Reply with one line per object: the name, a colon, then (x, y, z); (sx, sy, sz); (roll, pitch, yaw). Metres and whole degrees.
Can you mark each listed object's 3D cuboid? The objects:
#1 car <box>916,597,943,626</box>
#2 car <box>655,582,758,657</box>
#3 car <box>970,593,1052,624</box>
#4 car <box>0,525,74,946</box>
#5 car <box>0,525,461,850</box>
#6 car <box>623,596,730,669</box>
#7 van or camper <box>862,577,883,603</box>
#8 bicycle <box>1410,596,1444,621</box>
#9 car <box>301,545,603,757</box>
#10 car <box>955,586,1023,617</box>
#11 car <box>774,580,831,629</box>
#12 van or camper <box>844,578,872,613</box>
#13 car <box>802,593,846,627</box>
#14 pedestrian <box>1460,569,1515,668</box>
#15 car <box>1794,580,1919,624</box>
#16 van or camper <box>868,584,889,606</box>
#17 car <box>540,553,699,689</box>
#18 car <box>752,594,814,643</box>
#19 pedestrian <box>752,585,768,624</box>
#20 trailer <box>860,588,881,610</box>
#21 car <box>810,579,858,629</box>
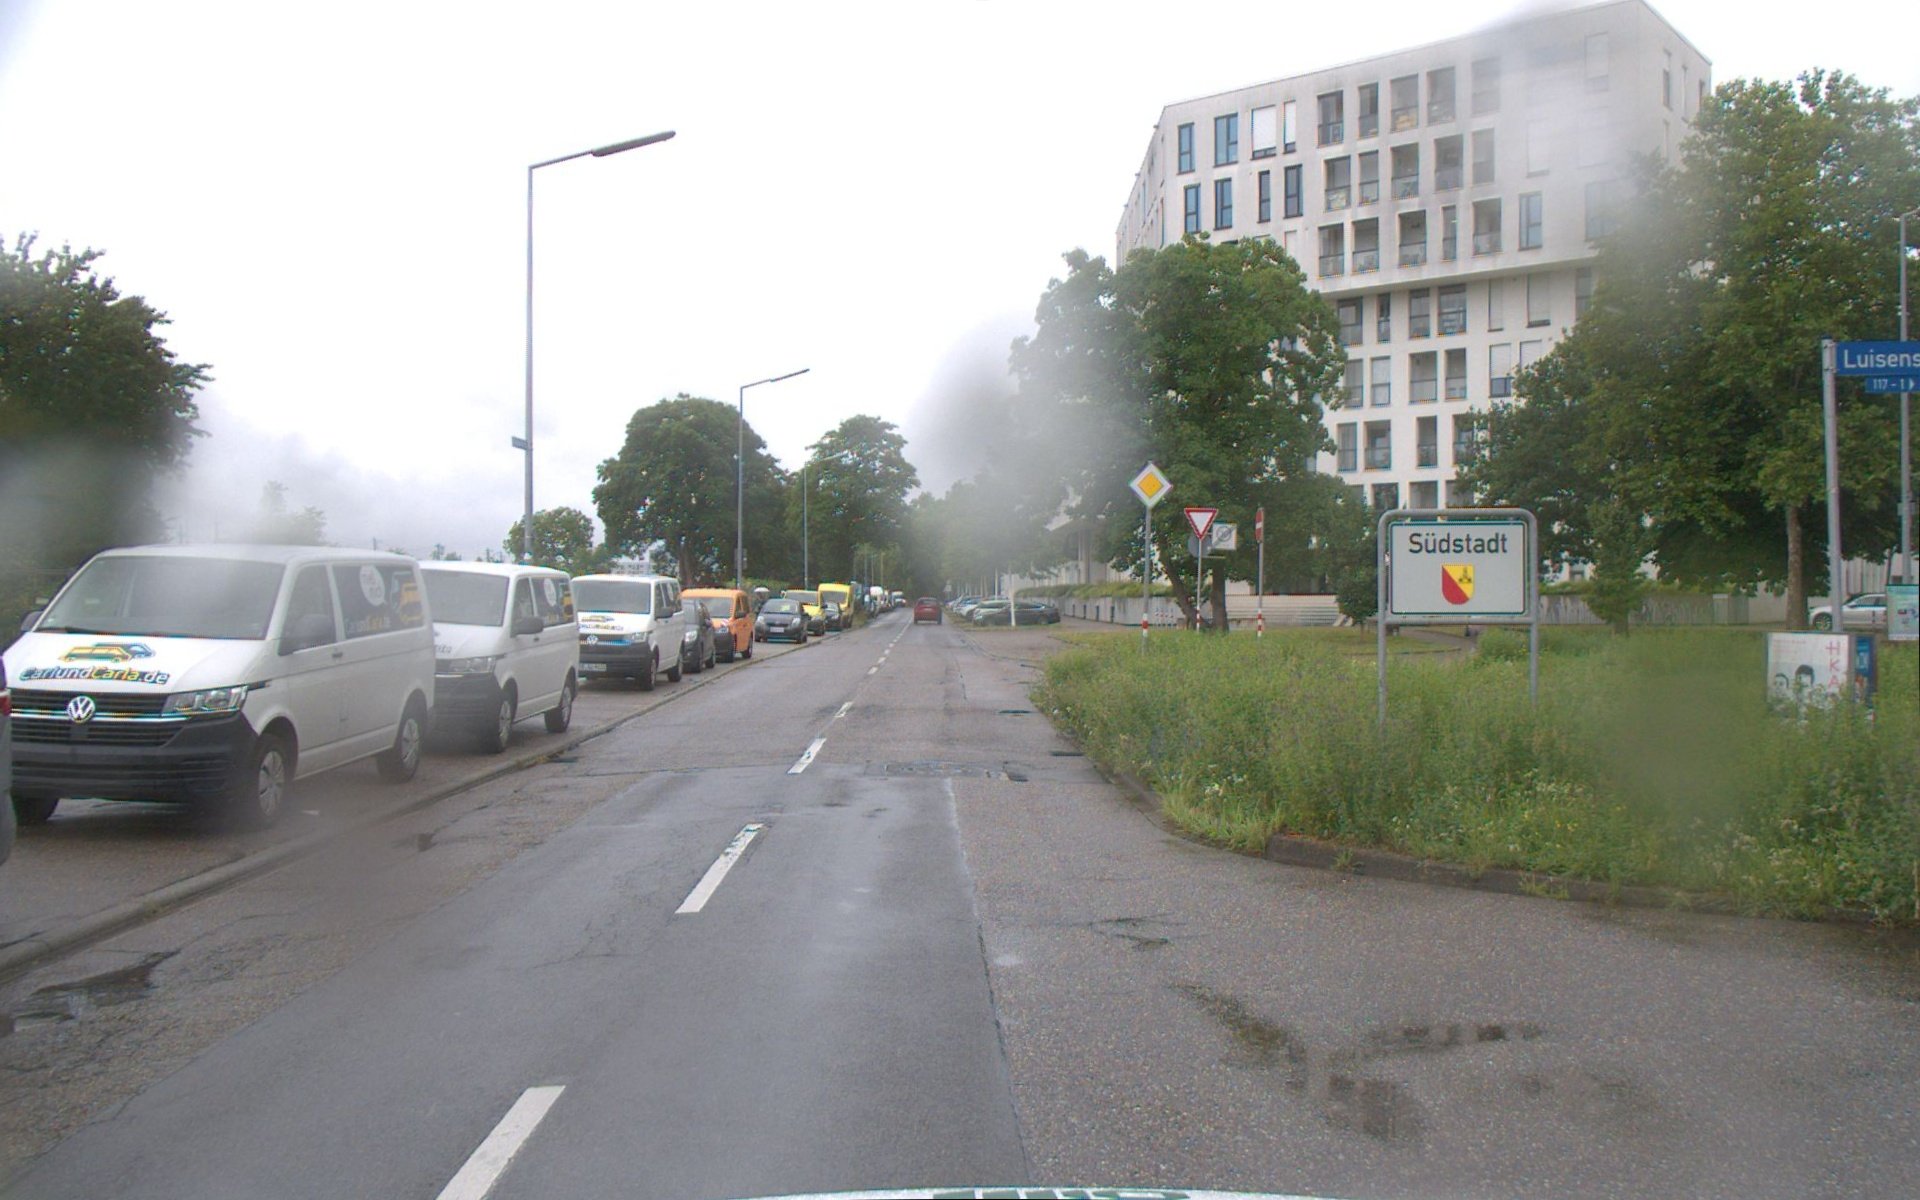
car: (-1.987, 0.724, 107.589); (1.720, 1.735, 3.999); (-1, 1, -1)
car: (-6.352, 0.470, 41.944); (1.900, 1.798, 4.331); (0, 0, 0)
car: (2.799, 0.453, 91.334); (4.397, 1.507, 1.691); (-3, 0, -2)
car: (-5.332, 0.624, 5.710); (1.916, 1.935, 4.994); (0, 0, -1)
car: (-5.633, 0.540, 13.069); (1.856, 2.049, 5.257); (0, 0, -1)
car: (-6.219, 0.669, 36.734); (1.649, 1.528, 4.890); (0, 0, -2)
van or camper: (-9.627, -1.086, 182.968); (1.953, 2.810, 7.896); (1, 0, -1)
bicycle: (20.237, 0.378, 71.628); (0.711, 1.051, 2.064); (0, 0, 38)
car: (-5.661, 0.500, 19.237); (1.920, 2.094, 5.273); (1, 0, -1)
car: (2.006, 0.083, 114.282); (4.451, 1.714, 1.884); (-5, 0, -4)
car: (-6.762, 0.202, 71.733); (1.976, 1.990, 6.063); (2, 0, -1)
van or camper: (-8.377, -0.333, 136.340); (2.053, 2.763, 7.569); (2, -1, -3)
car: (-6.860, 0.514, 84.029); (1.954, 1.622, 5.015); (2, 0, -2)
pedestrian: (11.037, 0.375, 34.609); (0.945, 2.049, 0.622); (0, 0, -1)
car: (34.626, 0.076, 63.094); (4.746, 1.533, 1.616); (2, 2, 40)
van or camper: (-9.685, -0.555, 196.929); (2.145, 2.505, 6.375); (1, 0, -1)
car: (-6.153, 0.332, 30.539); (1.903, 2.275, 5.556); (0, 0, -2)
car: (-6.295, 0.616, 59.044); (1.767, 1.588, 4.032); (3, 0, -1)
pedestrian: (-10.495, 0.247, 86.825); (0.727, 2.049, 0.980); (1, 0, -1)
trailer: (-9.187, -0.108, 170.316); (2.018, 2.256, 5.791); (1, 0, -3)
car: (-7.293, 0.218, 96.177); (2.147, 2.741, 6.081); (2, 0, 0)
